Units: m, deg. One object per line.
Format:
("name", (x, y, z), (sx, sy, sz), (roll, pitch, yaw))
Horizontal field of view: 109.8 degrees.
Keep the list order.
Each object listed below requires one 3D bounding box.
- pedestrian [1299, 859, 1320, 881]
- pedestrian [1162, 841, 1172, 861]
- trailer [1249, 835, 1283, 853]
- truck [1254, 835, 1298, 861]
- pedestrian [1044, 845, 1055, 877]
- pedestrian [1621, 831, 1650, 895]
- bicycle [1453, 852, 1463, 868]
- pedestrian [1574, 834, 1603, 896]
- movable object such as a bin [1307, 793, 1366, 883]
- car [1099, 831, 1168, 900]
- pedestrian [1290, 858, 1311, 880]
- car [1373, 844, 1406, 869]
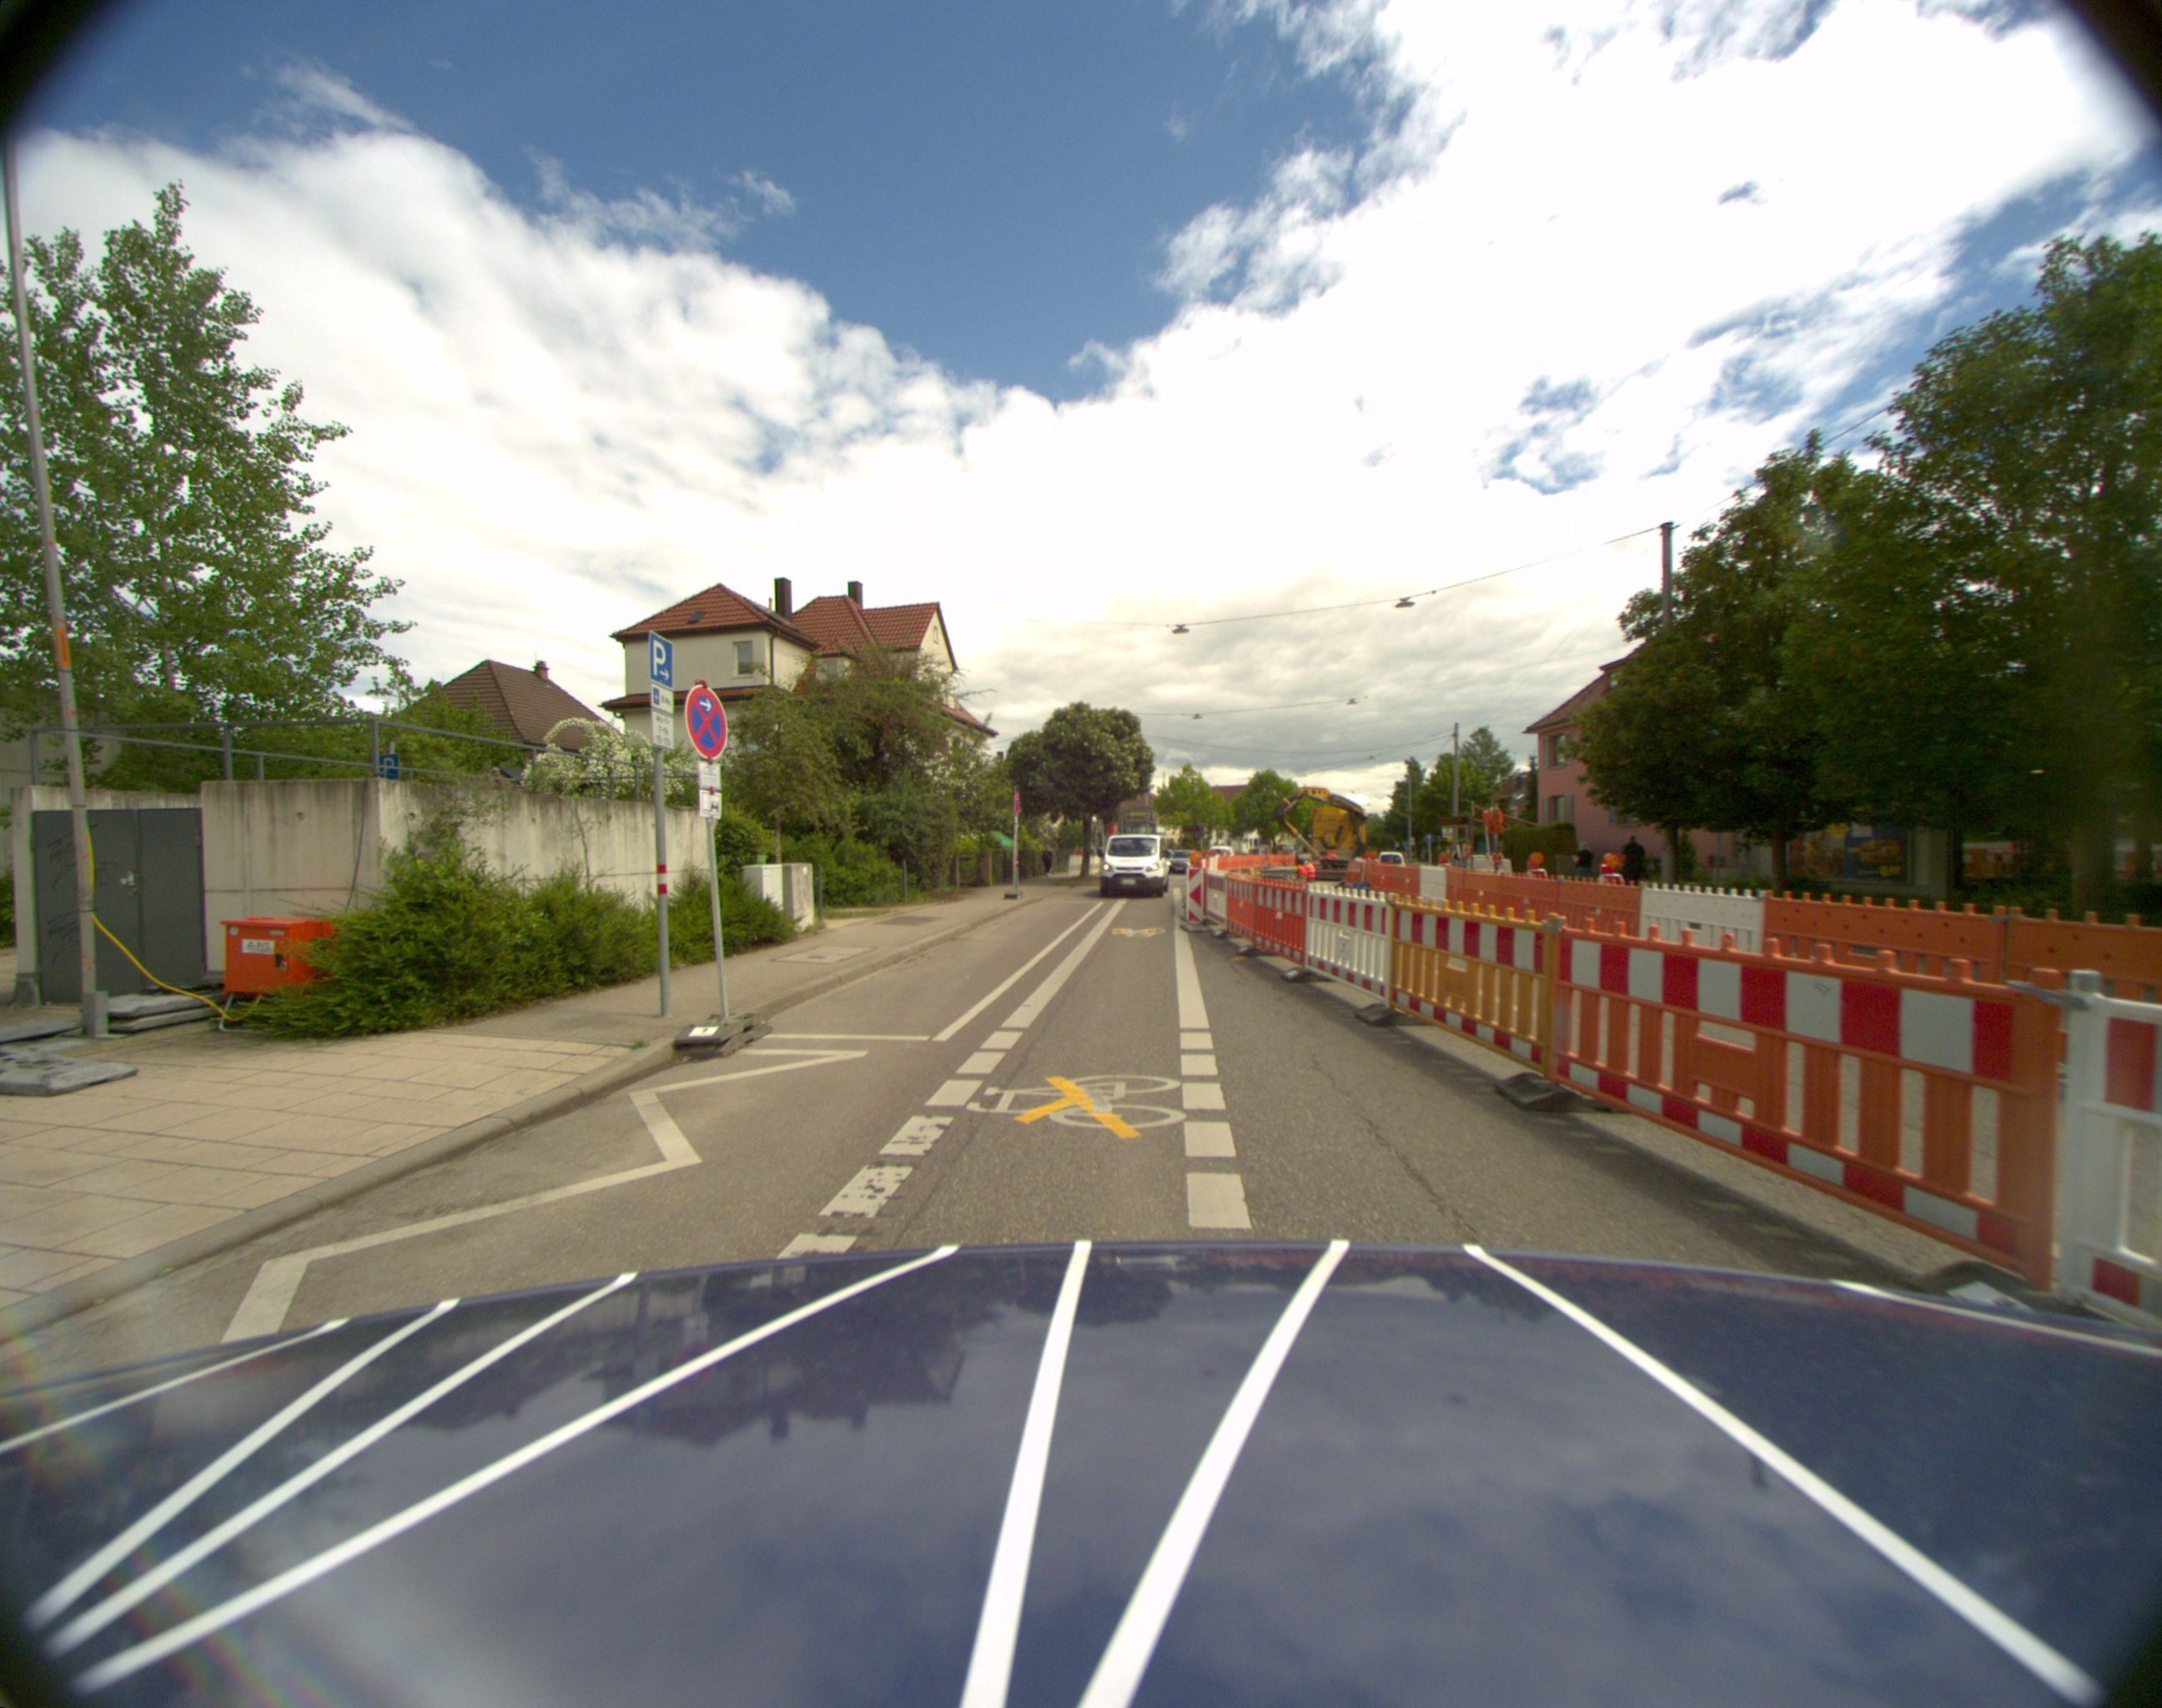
("pedestrian", (10.453, 0.736, 34.710), (0.641, 0.985, 0.795), (1, 1, 42))
("pedestrian", (6.981, -0.230, 61.626), (0.598, 1.573, 0.402), (-6, 1, 22))
("trailer", (23.673, -1.263, 97.079), (2.594, 2.232, 5.685), (-3, -1, 30))
("truck", (26.615, -0.765, 103.920), (2.345, 3.178, 6.623), (0, -3, -21))
("pedestrian", (-1.541, 0.327, 36.654), (0.522, 1.531, 0.636), (0, 1, -3))
("pedestrian", (16.146, 0.257, 22.129), (0.625, 1.836, 0.624), (1, 2, 32))
("bicycle", (26.459, 0.399, 53.337), (0.538, 1.076, 2.135), (1, 1, 25))
("pedestrian", (15.103, 0.317, 22.623), (0.695, 1.836, 0.624), (1, 2, 32))
("movable object such as a bin", (13.768, -0.834, 41.241), (2.594, 4.197, 11.135), (1, 1, 18))
("car", (1.746, 0.310, 25.260), (1.998, 2.002, 5.514), (-1, 1, 4))
("pedestrian", (10.338, 0.713, 35.776), (0.791, 0.985, 0.813), (1, 1, 32))
("car", (19.830, 0.132, 48.738), (1.856, 1.444, 4.006), (-1, 1, 23))
